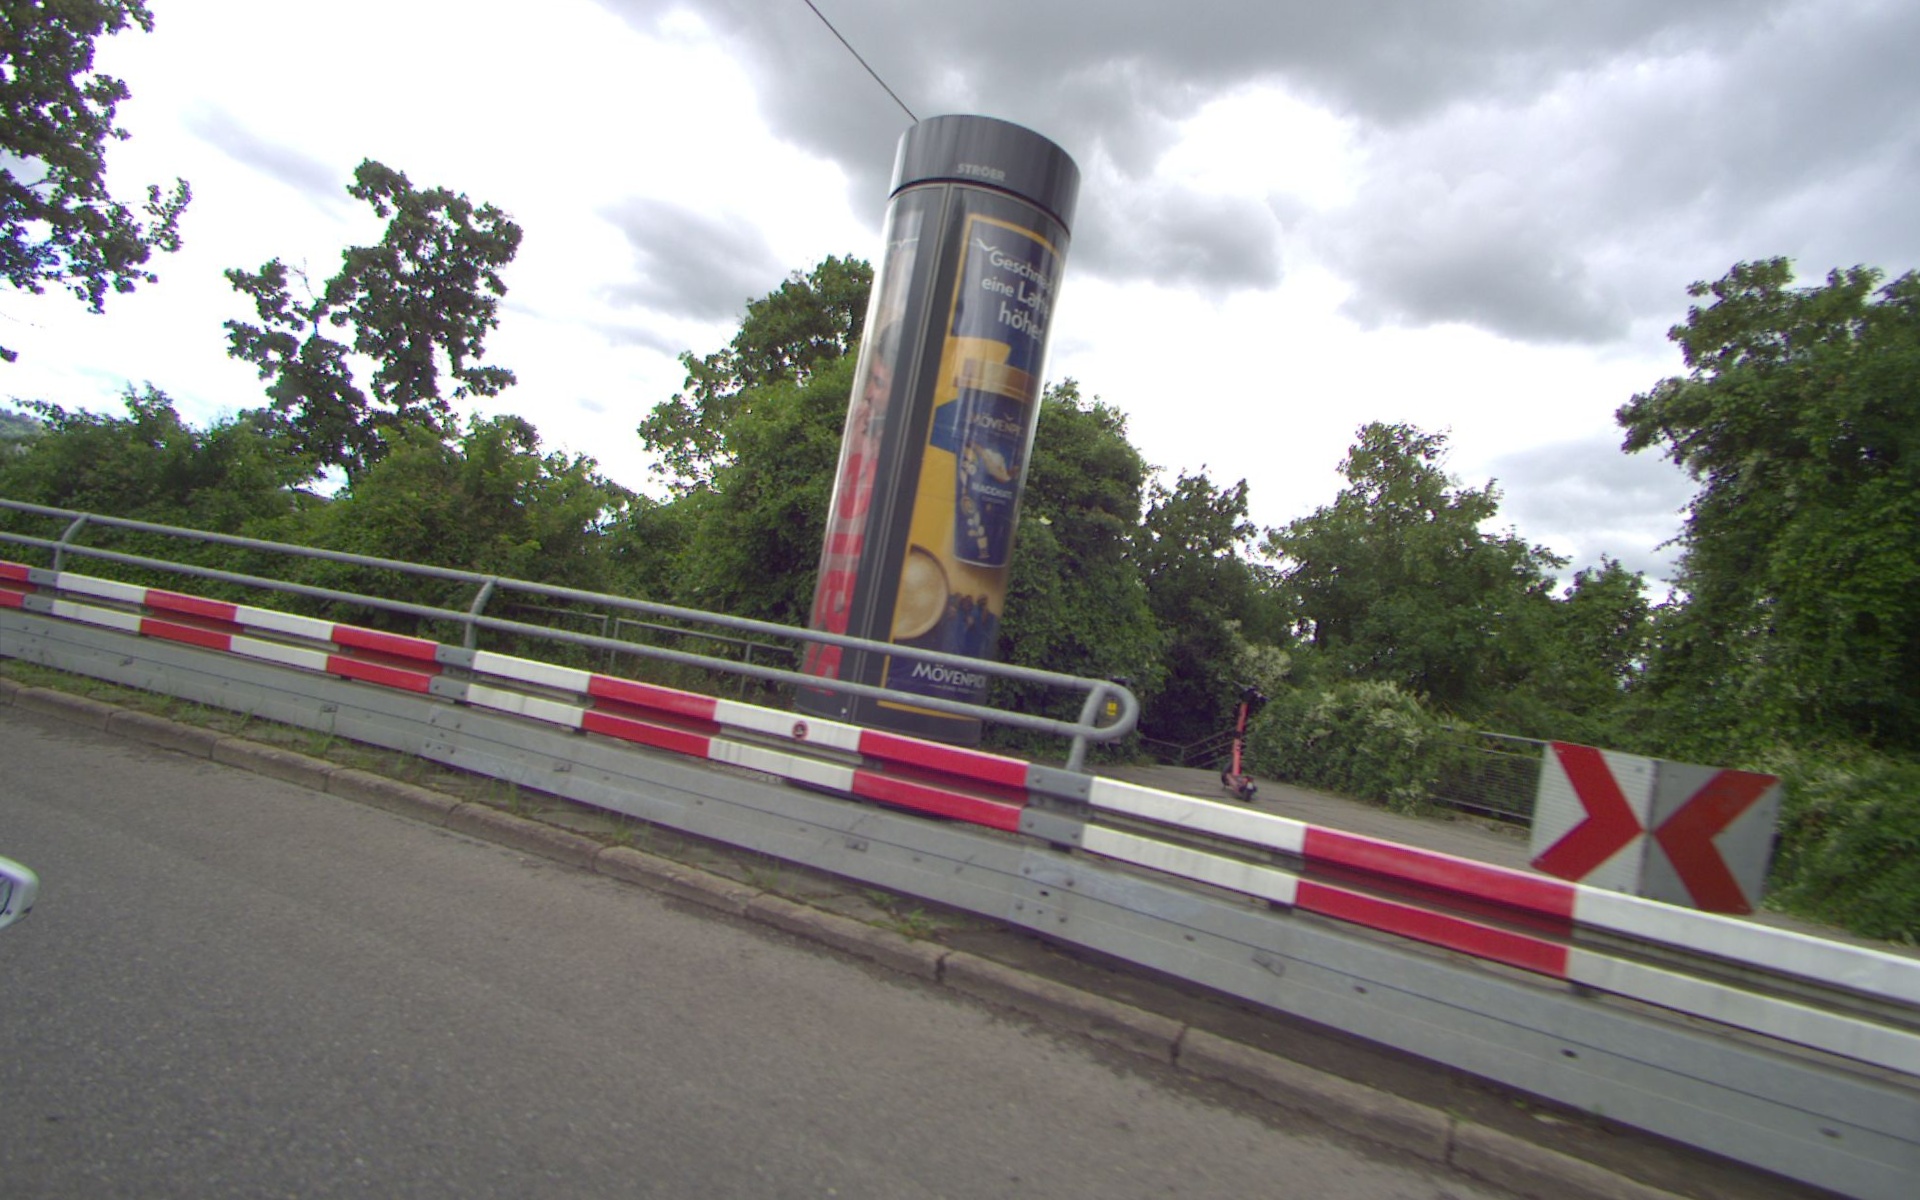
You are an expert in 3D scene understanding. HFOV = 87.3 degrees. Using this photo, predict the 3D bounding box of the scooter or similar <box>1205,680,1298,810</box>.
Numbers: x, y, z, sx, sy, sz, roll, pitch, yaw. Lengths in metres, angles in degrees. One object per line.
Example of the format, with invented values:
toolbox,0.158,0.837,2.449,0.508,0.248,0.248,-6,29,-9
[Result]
scooter or similar,3.275,1.593,11.406,0.429,1.264,1.502,9,-2,0
